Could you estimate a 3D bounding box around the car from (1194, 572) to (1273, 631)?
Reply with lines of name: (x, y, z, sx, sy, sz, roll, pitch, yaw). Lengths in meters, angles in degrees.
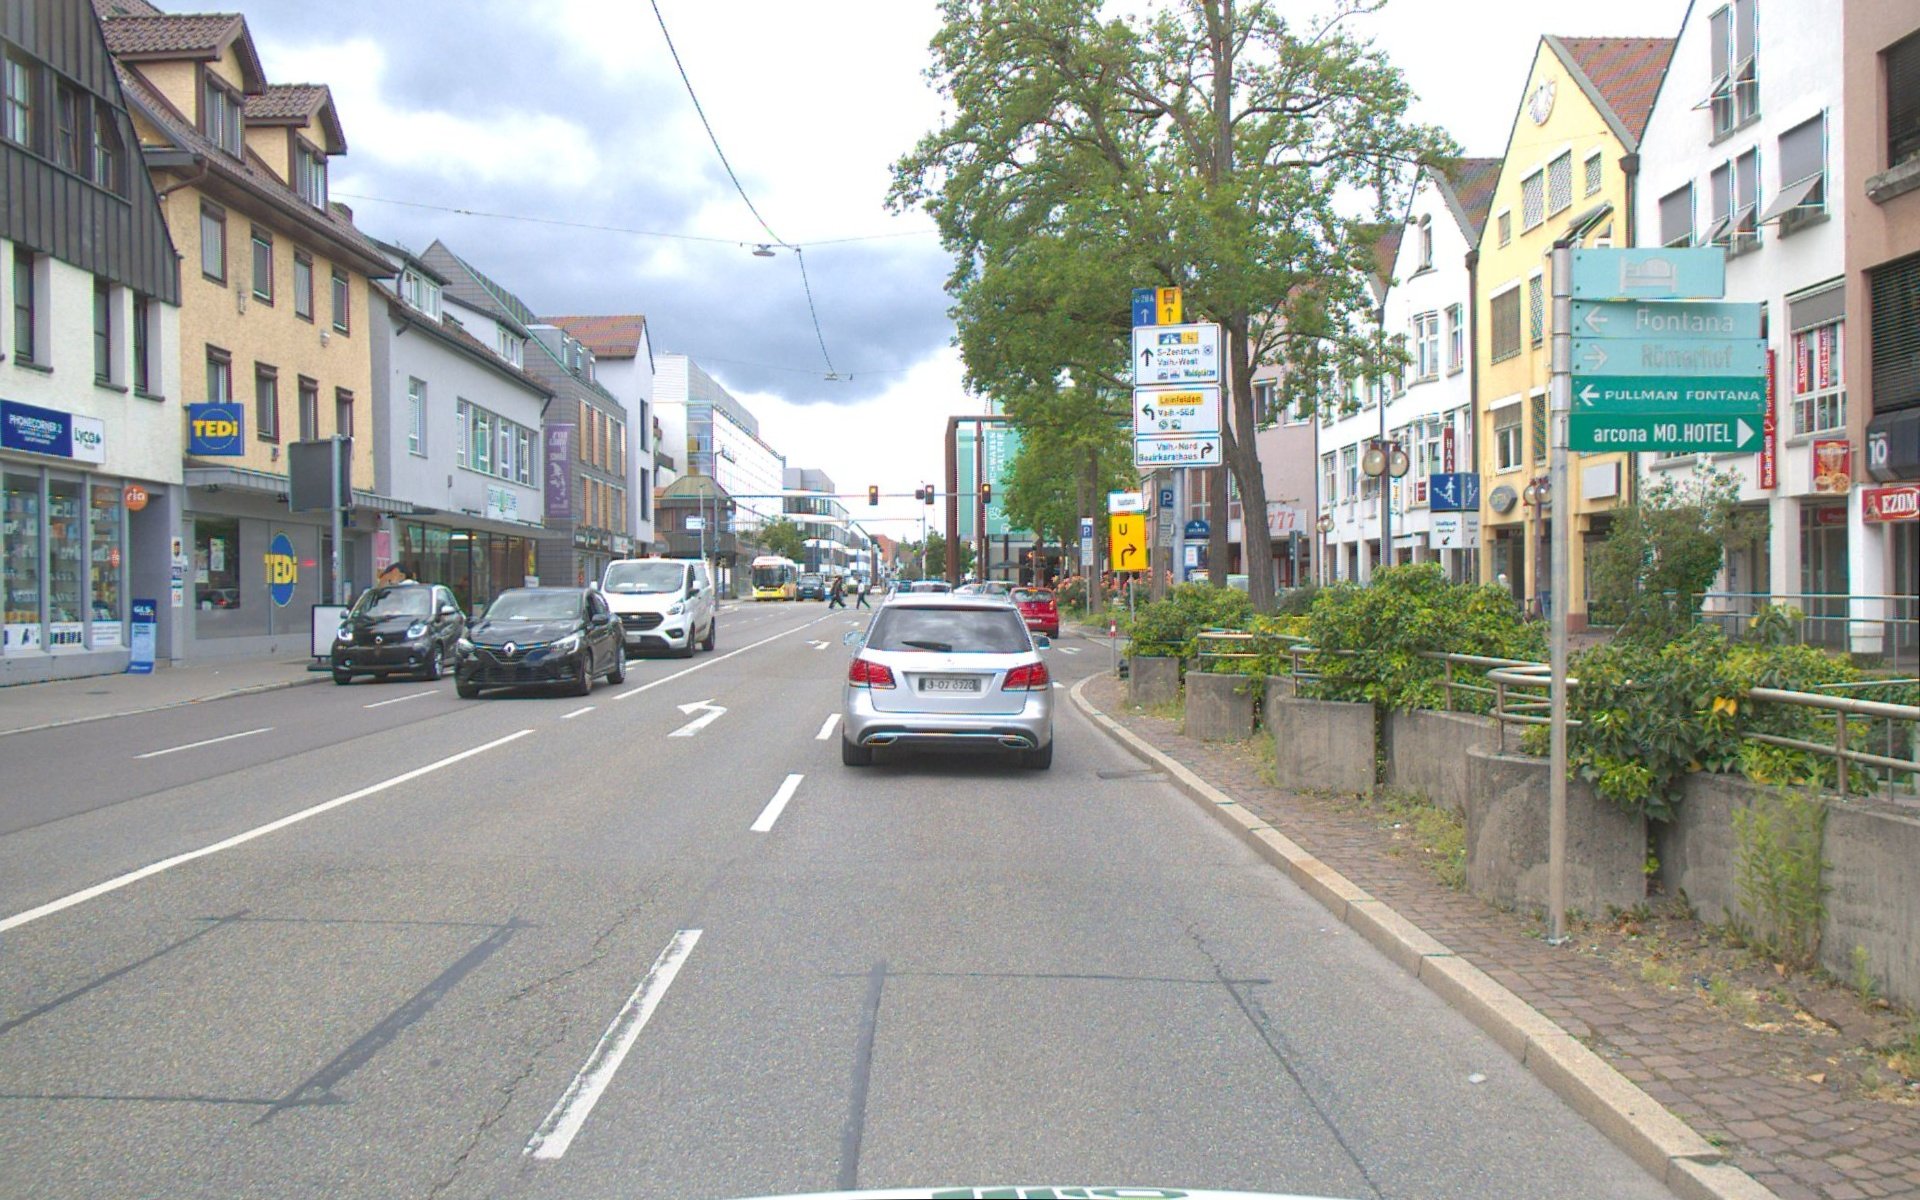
car: (9.037, 0.027, 54.966, 1.829, 1.897, 3.999, -1, 0, -2)

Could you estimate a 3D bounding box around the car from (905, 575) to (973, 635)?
car: (-0.645, 0.116, 49.890, 1.953, 1.713, 3.999, -1, 1, -1)

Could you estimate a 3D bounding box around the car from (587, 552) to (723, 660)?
car: (-6.198, 0.104, 34.204, 1.922, 1.995, 5.138, -2, 0, -1)

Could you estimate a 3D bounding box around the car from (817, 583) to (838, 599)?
car: (-11.070, -0.753, 138.327, 1.543, 1.266, 3.606, -1, 1, -1)

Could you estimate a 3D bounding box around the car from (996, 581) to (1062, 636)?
car: (2.049, 0.255, 49.941, 1.719, 1.547, 3.999, 1, 0, -1)

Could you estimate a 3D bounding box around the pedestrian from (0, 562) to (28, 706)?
pedestrian: (-12.351, 0.410, 20.724, 0.850, 1.777, 0.805, 2, 1, -6)

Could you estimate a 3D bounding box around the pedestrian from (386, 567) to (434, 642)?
pedestrian: (-12.445, 0.098, 37.457, 0.801, 1.663, 0.979, 1, 0, -7)

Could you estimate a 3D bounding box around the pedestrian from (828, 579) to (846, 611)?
pedestrian: (-6.552, -0.274, 87.911, 0.840, 1.663, 0.588, 2, 1, 0)

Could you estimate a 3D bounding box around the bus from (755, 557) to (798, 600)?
bus: (-14.036, -1.623, 126.684, 2.719, 3.220, 5.932, -1, 0, -1)

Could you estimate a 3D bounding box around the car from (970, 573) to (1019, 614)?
car: (1.443, -0.291, 71.107, 1.953, 1.713, 3.999, -1, 1, -1)

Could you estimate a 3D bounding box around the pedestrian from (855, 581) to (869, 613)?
pedestrian: (-5.117, -0.164, 86.241, 0.602, 1.663, 0.586, 2, 1, -10)

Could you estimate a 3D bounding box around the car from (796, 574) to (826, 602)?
car: (-11.264, -0.912, 125.507, 1.953, 2.049, 3.999, -1, 0, -1)

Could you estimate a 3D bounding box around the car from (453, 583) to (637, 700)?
car: (-5.648, 0.503, 22.926, 1.584, 1.453, 3.922, -1, 1, -1)

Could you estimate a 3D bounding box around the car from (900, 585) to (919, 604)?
car: (-5.416, -0.621, 178.327, 1.953, 2.049, 3.999, -1, 1, -2)

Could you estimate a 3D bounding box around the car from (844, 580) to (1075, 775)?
car: (-0.107, 0.600, 15.070, 1.837, 1.532, 3.998, 0, 0, -3)

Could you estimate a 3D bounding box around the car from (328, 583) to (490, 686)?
car: (-9.145, 0.524, 27.715, 1.584, 1.550, 3.507, -2, 1, -2)

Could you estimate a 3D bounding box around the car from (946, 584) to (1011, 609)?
car: (1.129, -0.223, 103.513, 4.016, 1.568, 1.580, -1, 0, 0)
